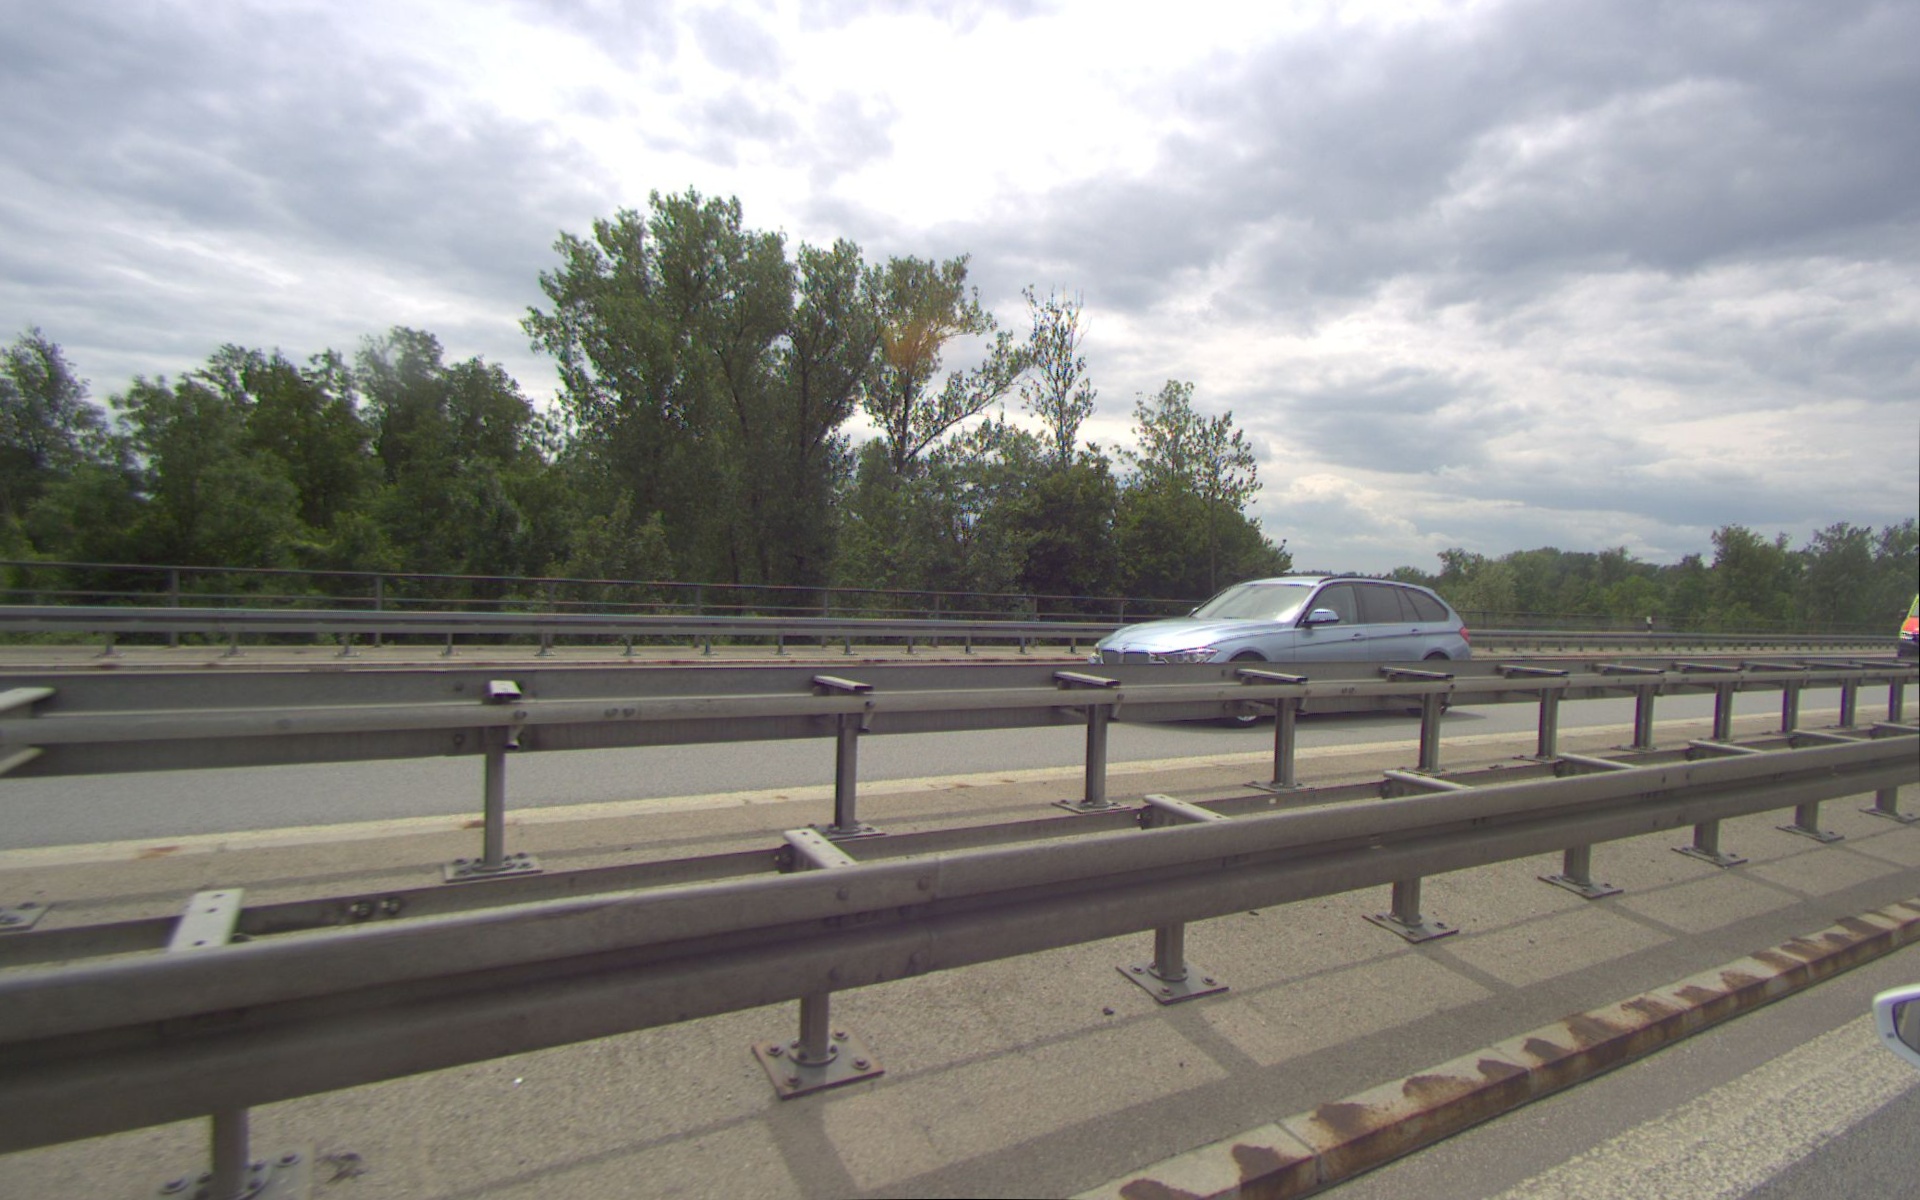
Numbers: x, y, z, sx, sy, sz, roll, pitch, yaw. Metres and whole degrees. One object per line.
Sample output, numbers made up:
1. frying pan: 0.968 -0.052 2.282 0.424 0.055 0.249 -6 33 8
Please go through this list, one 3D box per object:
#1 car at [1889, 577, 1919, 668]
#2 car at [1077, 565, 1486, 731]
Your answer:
1. car: 27.619 0.683 27.309 6.330 2.323 1.981 2 1 -34
2. car: 3.419 0.471 10.470 4.200 1.424 1.720 2 -1 -30
